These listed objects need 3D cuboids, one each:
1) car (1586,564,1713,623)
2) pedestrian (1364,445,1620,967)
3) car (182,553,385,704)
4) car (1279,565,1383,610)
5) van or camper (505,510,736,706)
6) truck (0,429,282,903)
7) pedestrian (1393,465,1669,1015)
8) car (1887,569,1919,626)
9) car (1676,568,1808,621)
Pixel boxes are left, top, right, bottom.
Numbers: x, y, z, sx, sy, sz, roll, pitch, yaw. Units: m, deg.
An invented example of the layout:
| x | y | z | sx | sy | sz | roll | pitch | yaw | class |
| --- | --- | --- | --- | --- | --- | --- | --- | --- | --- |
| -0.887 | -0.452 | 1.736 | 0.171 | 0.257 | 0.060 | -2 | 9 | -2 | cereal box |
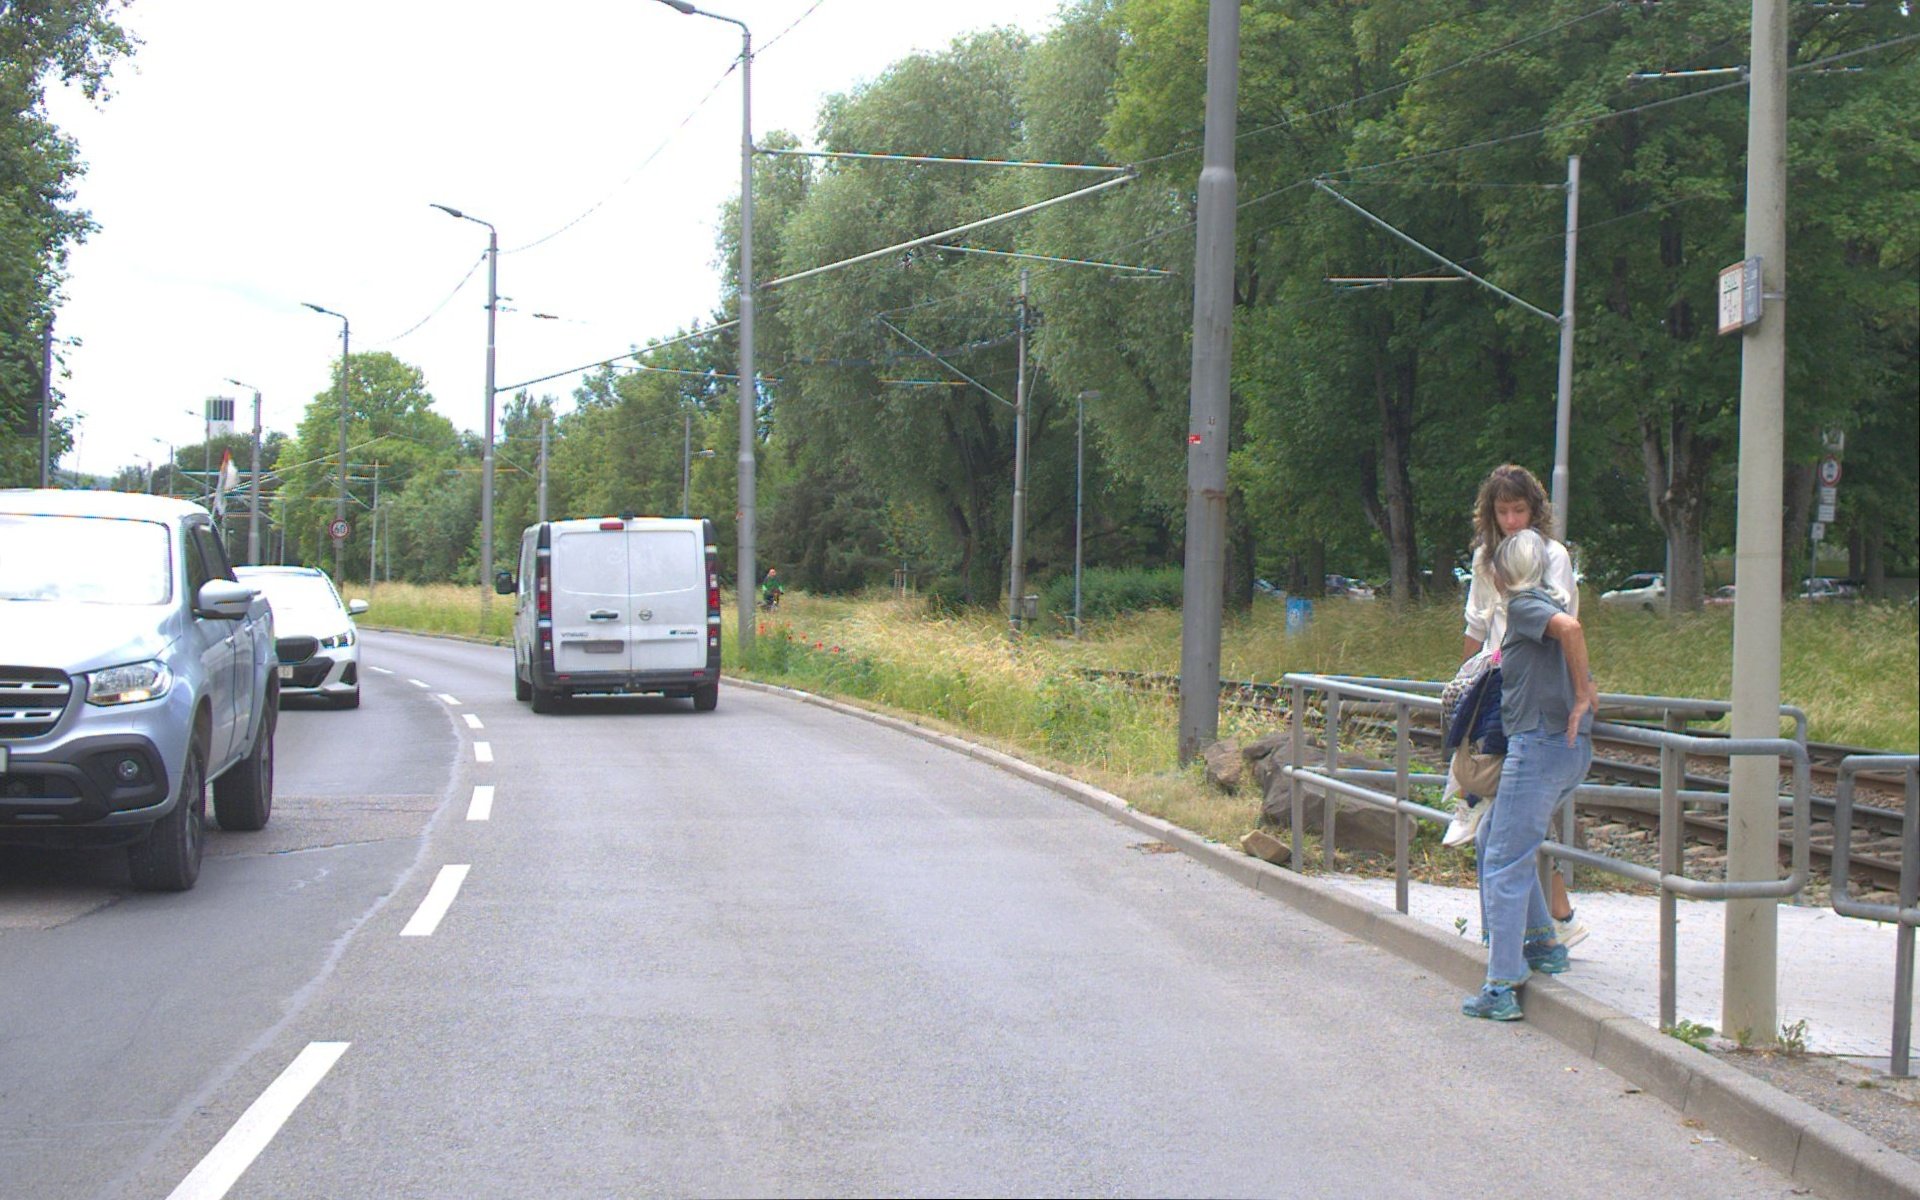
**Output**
| x | y | z | sx | sy | sz | roll | pitch | yaw | class |
| --- | --- | --- | --- | --- | --- | --- | --- | --- | --- |
| 20.763 | -0.211 | 103.688 | 1.993 | 1.694 | 4.230 | 2 | 0 | -15 | car |
| 1.931 | 0.385 | 12.496 | 0.658 | 1.834 | 0.597 | 2 | -2 | -26 | pedestrian |
| -7.351 | 0.264 | 37.728 | 1.929 | 1.517 | 4.660 | -1 | 1 | -8 | car |
| 15.524 | -0.534 | 143.891 | 1.994 | 1.806 | 3.998 | 1 | 0 | -41 | car |
| -3.585 | 0.063 | 35.666 | 1.941 | 1.890 | 4.286 | 0 | 0 | -12 | van or camper |
| -4.442 | 0.230 | 16.704 | 1.847 | 1.959 | 4.959 | 1 | 1 | -7 | truck |
| 1.858 | 0.451 | 11.241 | 0.474 | 1.723 | 0.800 | 2 | -2 | -27 | pedestrian |
| 25.409 | -0.029 | 86.961 | 1.993 | 1.438 | 4.001 | 1 | 0 | -15 | car |
| 22.282 | -0.168 | 98.072 | 1.993 | 1.438 | 4.001 | 1 | 0 | -15 | car |
